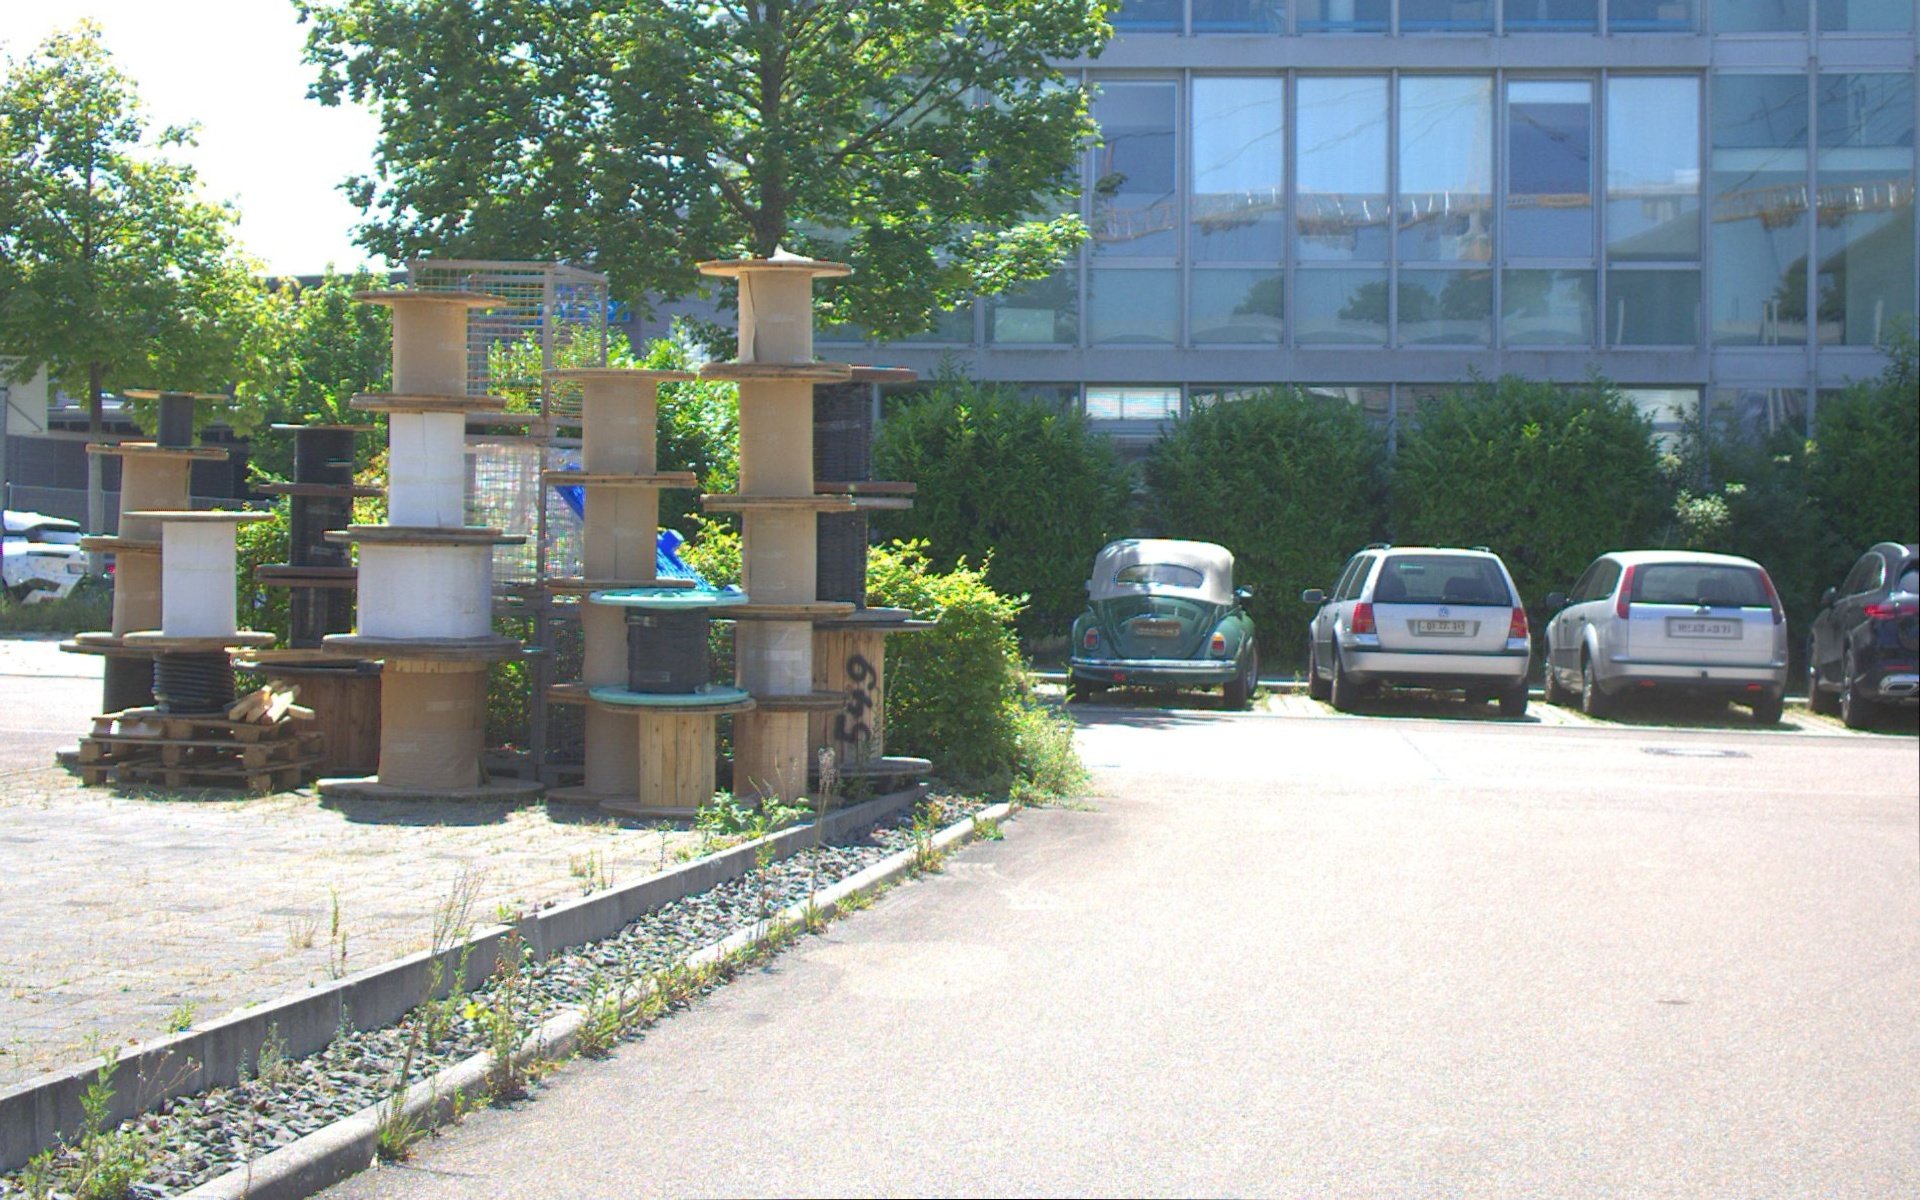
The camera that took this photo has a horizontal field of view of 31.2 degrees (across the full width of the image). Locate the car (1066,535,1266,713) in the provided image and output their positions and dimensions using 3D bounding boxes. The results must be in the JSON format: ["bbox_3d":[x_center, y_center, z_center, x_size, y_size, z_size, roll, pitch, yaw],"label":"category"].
[{"bbox_3d":[1.927,0.170,31.314,1.542,1.444,3.653,2,2,7],"label":"car"}]

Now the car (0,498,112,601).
[{"bbox_3d":[-15.525,-0.830,52.286,4.845,1.486,1.998,2,2,23],"label":"car"}]

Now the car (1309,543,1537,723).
[{"bbox_3d":[4.145,0.252,31.234,1.732,1.444,3.654,2,2,3],"label":"car"}]

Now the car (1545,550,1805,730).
[{"bbox_3d":[6.467,0.317,31.439,1.765,1.444,3.654,2,2,3],"label":"car"}]

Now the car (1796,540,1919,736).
[{"bbox_3d":[8.734,0.310,30.833,1.927,1.605,3.985,2,2,8],"label":"car"}]

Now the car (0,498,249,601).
[{"bbox_3d":[-13.981,-0.830,54.948,4.845,1.486,1.998,2,2,23],"label":"car"}]
